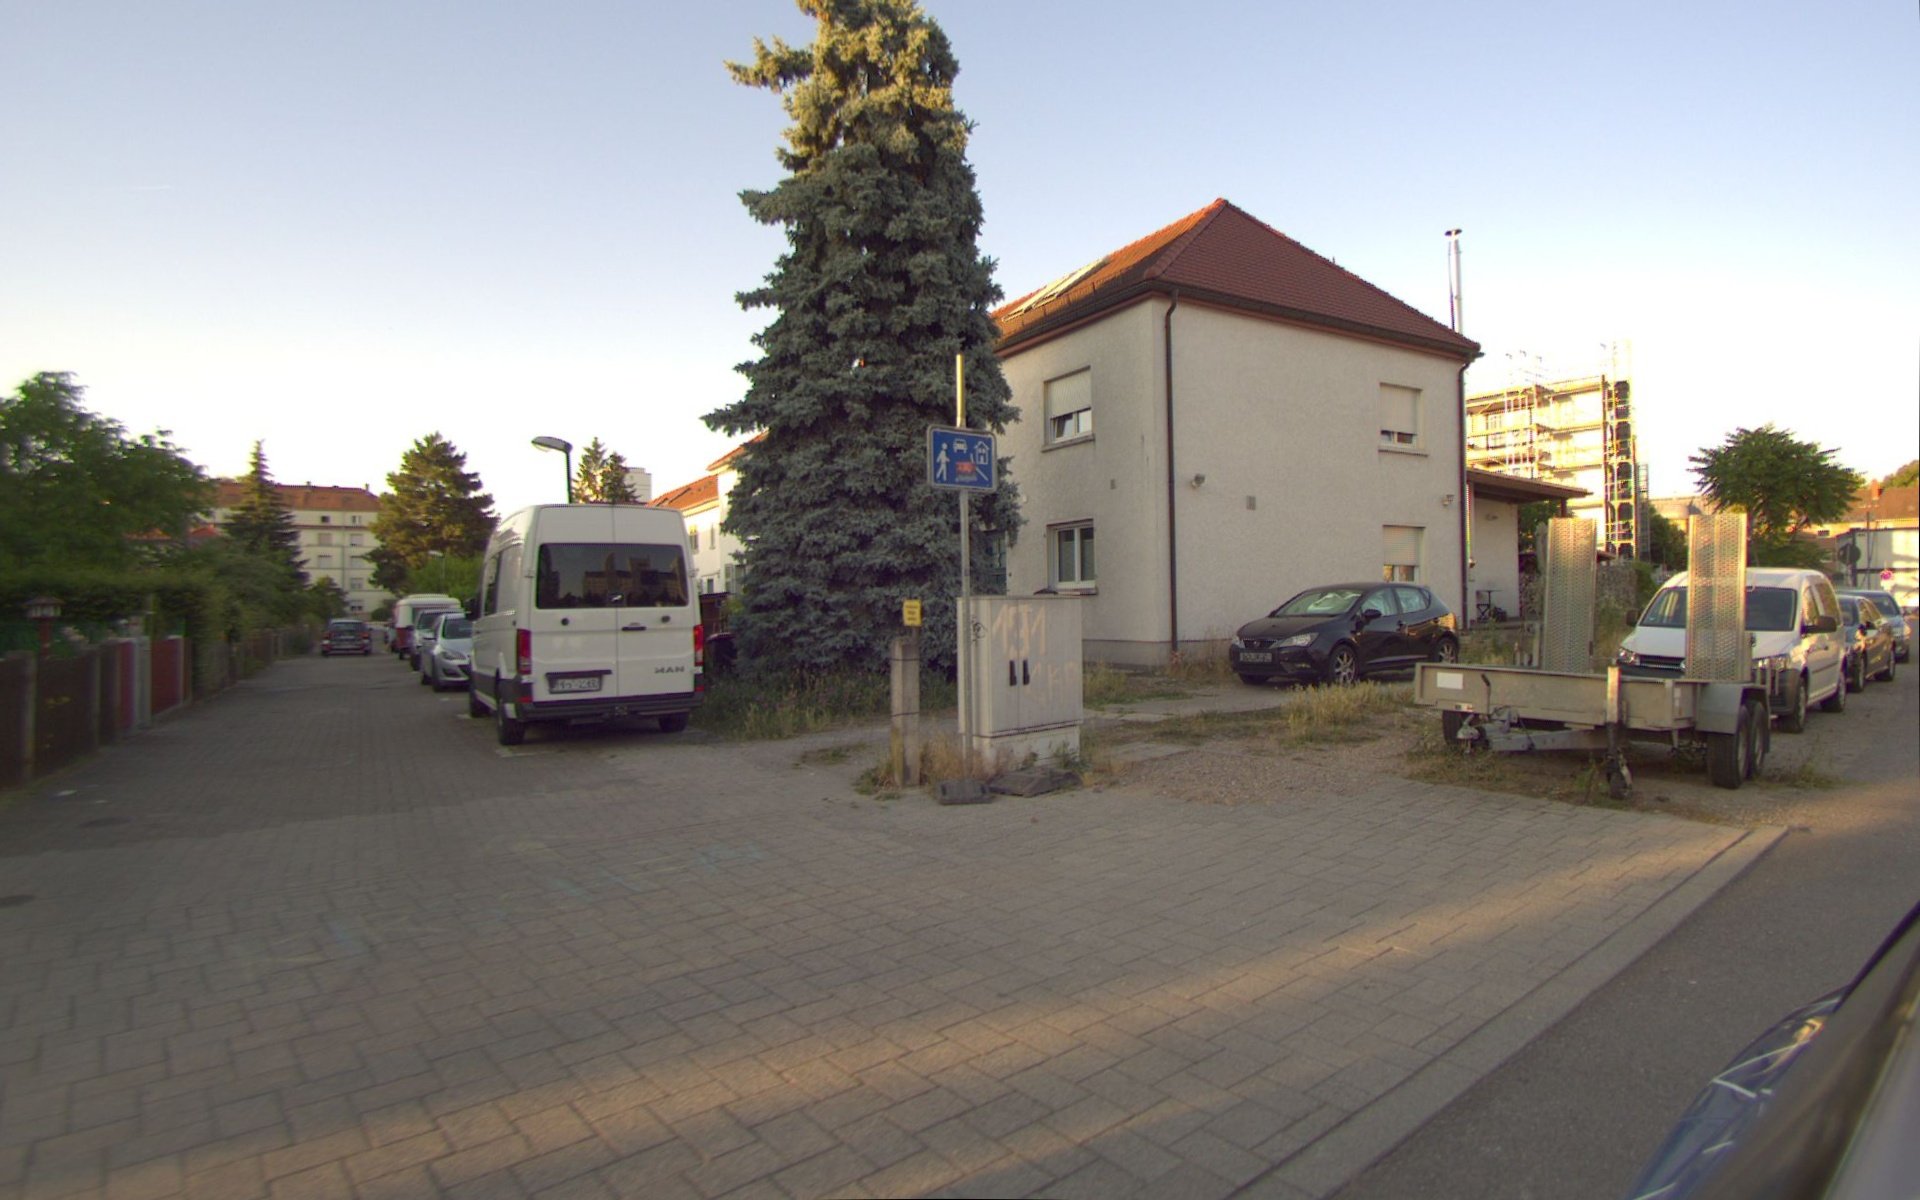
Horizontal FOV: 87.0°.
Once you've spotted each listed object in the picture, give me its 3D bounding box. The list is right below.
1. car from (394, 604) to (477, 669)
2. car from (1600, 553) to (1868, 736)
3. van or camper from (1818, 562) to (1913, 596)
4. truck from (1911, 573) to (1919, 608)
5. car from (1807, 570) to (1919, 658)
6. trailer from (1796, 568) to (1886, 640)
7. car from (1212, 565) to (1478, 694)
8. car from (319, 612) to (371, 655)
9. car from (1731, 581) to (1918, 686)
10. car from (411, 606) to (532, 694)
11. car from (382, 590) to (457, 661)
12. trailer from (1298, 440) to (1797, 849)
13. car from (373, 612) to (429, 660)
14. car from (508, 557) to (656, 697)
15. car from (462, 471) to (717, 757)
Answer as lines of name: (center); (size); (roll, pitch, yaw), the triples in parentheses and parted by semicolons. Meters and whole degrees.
car: (-15.136, 1.007, 29.123); (1.648, 1.674, 4.099); (-3, 0, -33)
car: (9.531, 0.406, 12.334); (4.332, 1.854, 1.774); (-1, 1, -41)
van or camper: (86.320, -1.956, 96.658); (6.438, 2.675, 2.374); (-4, -3, 38)
truck: (59.680, -0.613, 58.921); (6.000, 2.069, 2.322); (-2, -1, 39)
car: (20.229, 0.245, 22.581); (1.805, 1.746, 4.852); (1, 1, 43)
trailer: (24.192, 0.073, 27.748); (1.730, 1.800, 4.861); (1, 1, 42)
car: (5.602, 0.342, 14.594); (3.829, 1.538, 1.641); (-3, 1, -34)
car: (-25.395, 1.338, 41.736); (1.648, 1.616, 3.770); (-3, 0, -33)
car: (14.371, 0.475, 16.753); (4.015, 1.538, 1.707); (-1, 0, -40)
car: (-9.880, 0.935, 20.300); (1.708, 1.496, 4.138); (-3, 1, -32)
car: (-18.526, 0.843, 34.588); (1.809, 2.202, 4.468); (-3, 0, -33)
trailer: (4.929, 0.231, 8.071); (5.135, 2.239, 2.066); (0, 0, -43)
car: (-23.112, 1.447, 41.764); (1.648, 1.811, 4.099); (-3, 0, -33)
car: (-8.110, 0.563, 21.351); (2.012, 2.547, 5.586); (2, -2, -30)
car: (-4.833, 0.197, 12.550); (2.012, 2.728, 5.586); (2, -2, -30)
